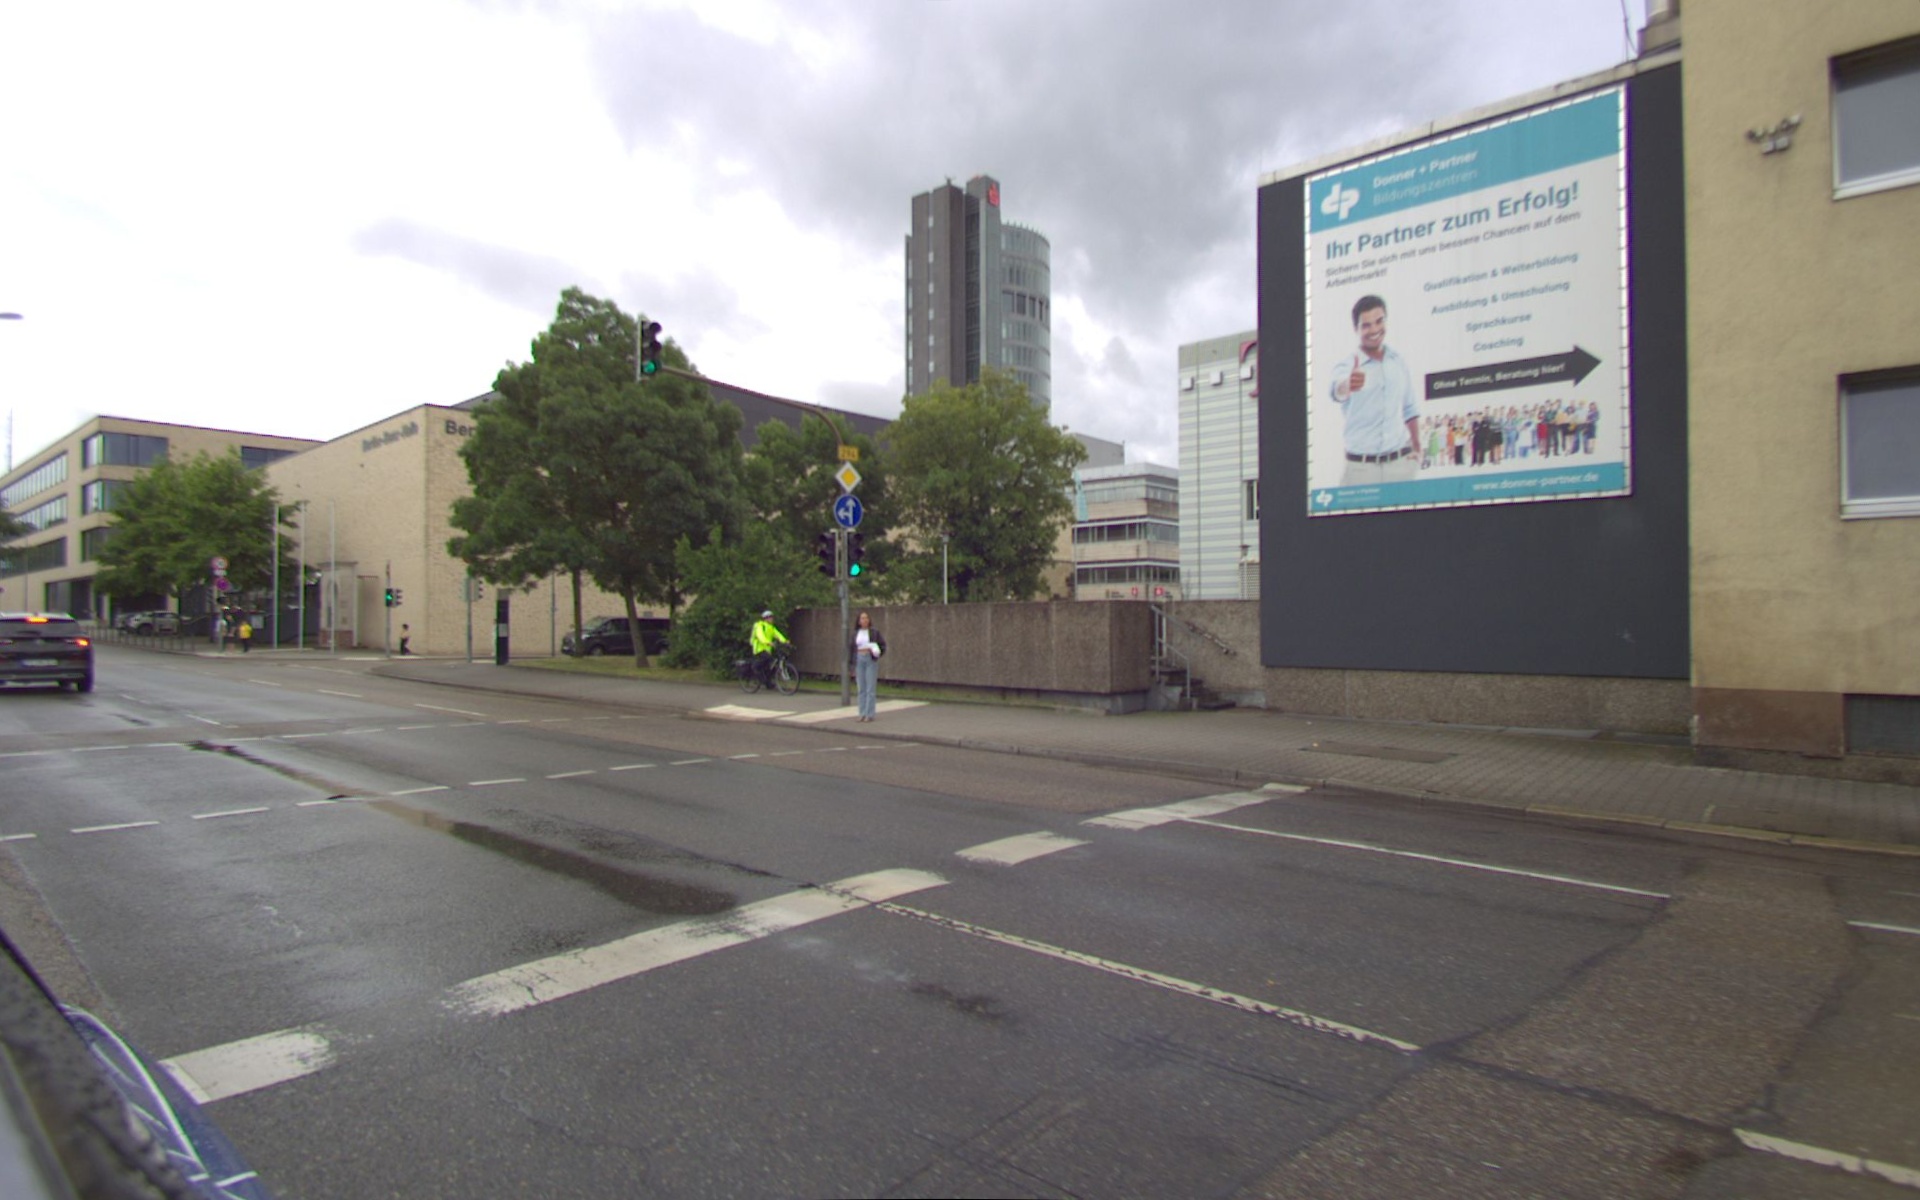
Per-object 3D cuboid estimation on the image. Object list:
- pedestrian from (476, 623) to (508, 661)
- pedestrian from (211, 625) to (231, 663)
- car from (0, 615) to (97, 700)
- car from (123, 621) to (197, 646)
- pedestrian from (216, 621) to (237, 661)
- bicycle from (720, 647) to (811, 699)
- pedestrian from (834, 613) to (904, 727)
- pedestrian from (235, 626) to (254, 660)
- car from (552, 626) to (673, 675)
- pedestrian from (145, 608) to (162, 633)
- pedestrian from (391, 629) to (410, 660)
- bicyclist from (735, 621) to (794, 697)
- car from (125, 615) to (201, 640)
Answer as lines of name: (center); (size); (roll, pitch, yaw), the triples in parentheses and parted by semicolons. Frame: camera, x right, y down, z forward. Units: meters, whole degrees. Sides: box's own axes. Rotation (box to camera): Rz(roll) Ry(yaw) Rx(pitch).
pedestrian: (-22.064, 1.964, 47.704); (0.807, 1.713, 1.099); (-1, 0, 39)
pedestrian: (-34.774, 2.057, 47.610); (0.691, 1.744, 0.588); (-1, 0, 37)
car: (-19.436, 1.138, 20.996); (4.294, 1.606, 1.788); (-1, -2, 42)
car: (-57.017, 2.343, 72.134); (3.941, 1.597, 2.001); (-1, 0, -45)
pedestrian: (-32.952, 1.821, 45.475); (0.691, 1.784, 0.588); (-1, 0, 40)
bicycle: (-3.912, 1.445, 20.257); (1.867, 0.914, 0.875); (-1, 0, 44)
pedestrian: (-1.421, 1.061, 15.789); (0.811, 1.702, 0.709); (-1, 0, 43)
pedestrian: (-33.422, 2.002, 47.280); (0.691, 1.528, 0.588); (-1, 0, 40)
car: (-15.446, 2.274, 45.182); (1.998, 1.940, 4.730); (-1, -5, 38)
pedestrian: (-54.445, 1.367, 68.326); (0.792, 1.660, 0.977); (-1, 0, -42)
pedestrian: (-25.267, 2.010, 45.713); (0.475, 1.386, 0.614); (-1, 0, 42)
bicyclist: (-3.908, 1.166, 20.226); (0.812, 1.453, 0.833); (-1, 0, 43)
car: (-55.536, 1.885, 70.523); (3.941, 1.597, 2.001); (-1, 0, -45)
